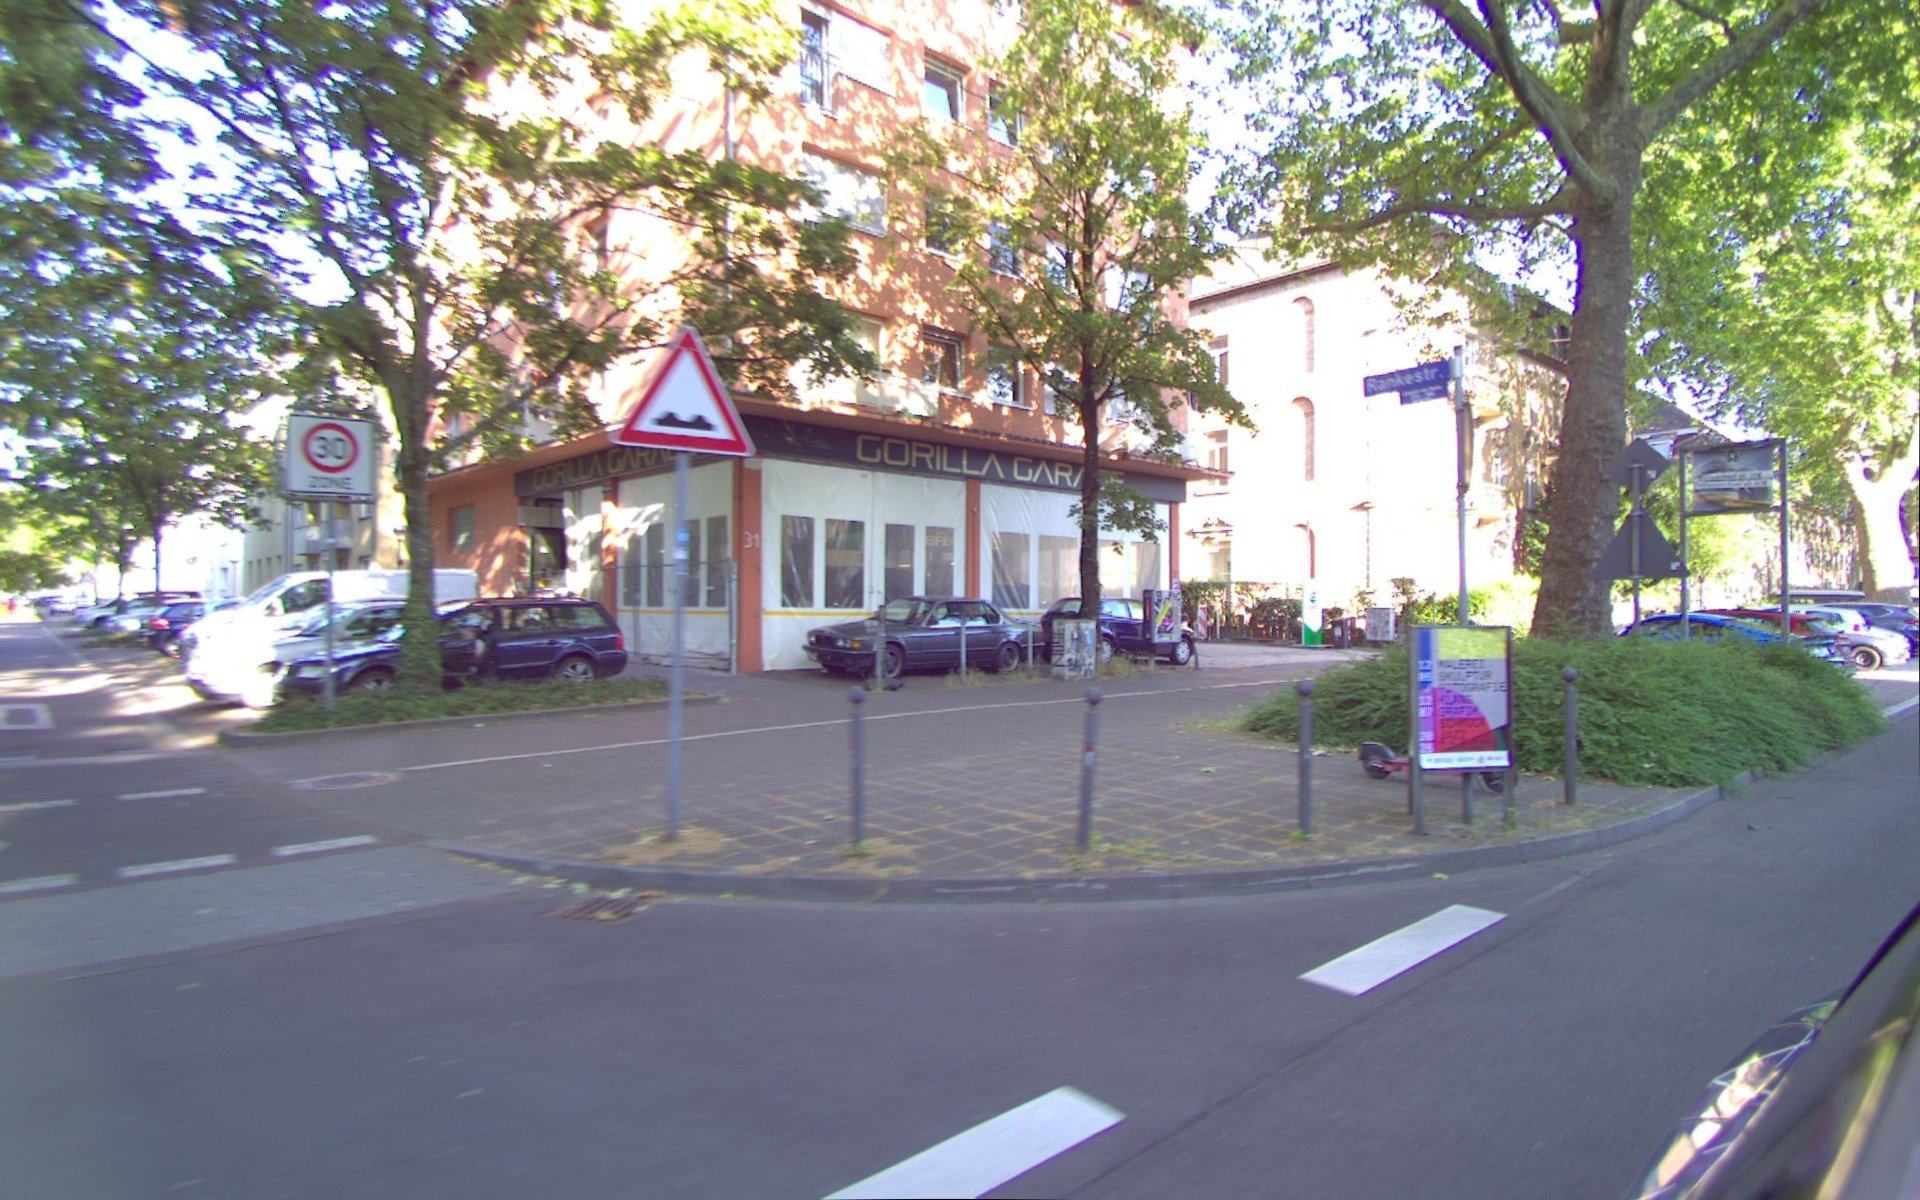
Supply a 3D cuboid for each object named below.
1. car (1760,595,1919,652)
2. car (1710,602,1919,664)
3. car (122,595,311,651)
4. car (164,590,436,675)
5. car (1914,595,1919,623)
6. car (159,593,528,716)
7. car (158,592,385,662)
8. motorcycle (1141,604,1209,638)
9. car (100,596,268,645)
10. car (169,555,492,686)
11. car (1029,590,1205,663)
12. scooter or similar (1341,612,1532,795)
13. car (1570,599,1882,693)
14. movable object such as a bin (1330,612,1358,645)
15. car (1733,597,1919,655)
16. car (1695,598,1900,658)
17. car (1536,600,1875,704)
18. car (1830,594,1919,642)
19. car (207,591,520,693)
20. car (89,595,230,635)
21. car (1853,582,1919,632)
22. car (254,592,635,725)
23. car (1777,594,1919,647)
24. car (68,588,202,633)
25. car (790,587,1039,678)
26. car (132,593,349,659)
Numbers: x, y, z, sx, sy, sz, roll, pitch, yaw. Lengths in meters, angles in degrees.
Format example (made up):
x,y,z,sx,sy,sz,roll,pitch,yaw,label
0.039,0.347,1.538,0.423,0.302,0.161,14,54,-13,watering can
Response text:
x,y,z,sx,sy,sz,roll,pitch,yaw,label
27.376,0.683,31.088,1.847,1.639,4.203,0,0,-43,car
22.290,0.791,26.322,1.786,1.466,4.207,0,0,-41,car
-22.976,0.662,31.384,1.790,1.594,4.504,0,0,45,car
-13.654,0.607,21.141,1.790,1.594,4.504,0,0,45,car
58.188,0.595,58.079,1.859,1.652,4.807,1,0,-41,car
-9.209,0.712,15.432,1.789,1.594,4.506,0,0,43,car
-17.296,0.629,25.581,1.790,1.594,4.504,0,0,45,car
7.341,0.697,34.674,0.792,1.117,2.386,0,0,-34,motorcycle
-27.269,0.686,35.648,1.790,1.594,4.504,0,0,45,car
-11.977,0.349,19.535,5.001,2.212,1.913,0,0,-45,car
3.499,0.535,22.240,3.881,1.453,1.751,0,0,-41,car
3.626,0.737,7.757,0.560,1.255,1.209,0,1,-42,scooter or similar
14.413,0.776,19.265,1.916,1.562,4.413,0,0,-38,car
11.453,0.832,30.195,0.438,0.952,0.659,-1,0,-36,movable object such as a bin
25.571,0.707,29.766,1.784,1.594,4.210,0,0,-38,car
23.684,0.733,28.752,1.784,1.575,4.210,0,0,-38,car
12.753,0.783,17.610,1.782,1.562,4.419,0,0,-34,car
34.431,0.669,37.013,1.760,1.639,3.787,0,1,-43,car
-10.448,0.654,17.985,1.790,1.594,4.504,0,0,45,car
-33.784,0.595,42.813,1.790,1.594,4.504,0,0,45,car
40.913,0.325,42.578,2.158,2.039,4.850,0,1,-44,car
-7.145,0.700,14.401,1.789,1.594,4.506,0,0,43,car
29.408,0.641,32.862,1.784,1.639,4.210,0,0,-38,car
-37.100,0.446,45.598,1.790,1.931,4.504,0,0,45,car
-0.723,0.510,18.331,4.390,1.453,1.751,0,0,-41,car
-19.145,0.639,27.072,1.790,1.594,4.504,0,0,45,car
